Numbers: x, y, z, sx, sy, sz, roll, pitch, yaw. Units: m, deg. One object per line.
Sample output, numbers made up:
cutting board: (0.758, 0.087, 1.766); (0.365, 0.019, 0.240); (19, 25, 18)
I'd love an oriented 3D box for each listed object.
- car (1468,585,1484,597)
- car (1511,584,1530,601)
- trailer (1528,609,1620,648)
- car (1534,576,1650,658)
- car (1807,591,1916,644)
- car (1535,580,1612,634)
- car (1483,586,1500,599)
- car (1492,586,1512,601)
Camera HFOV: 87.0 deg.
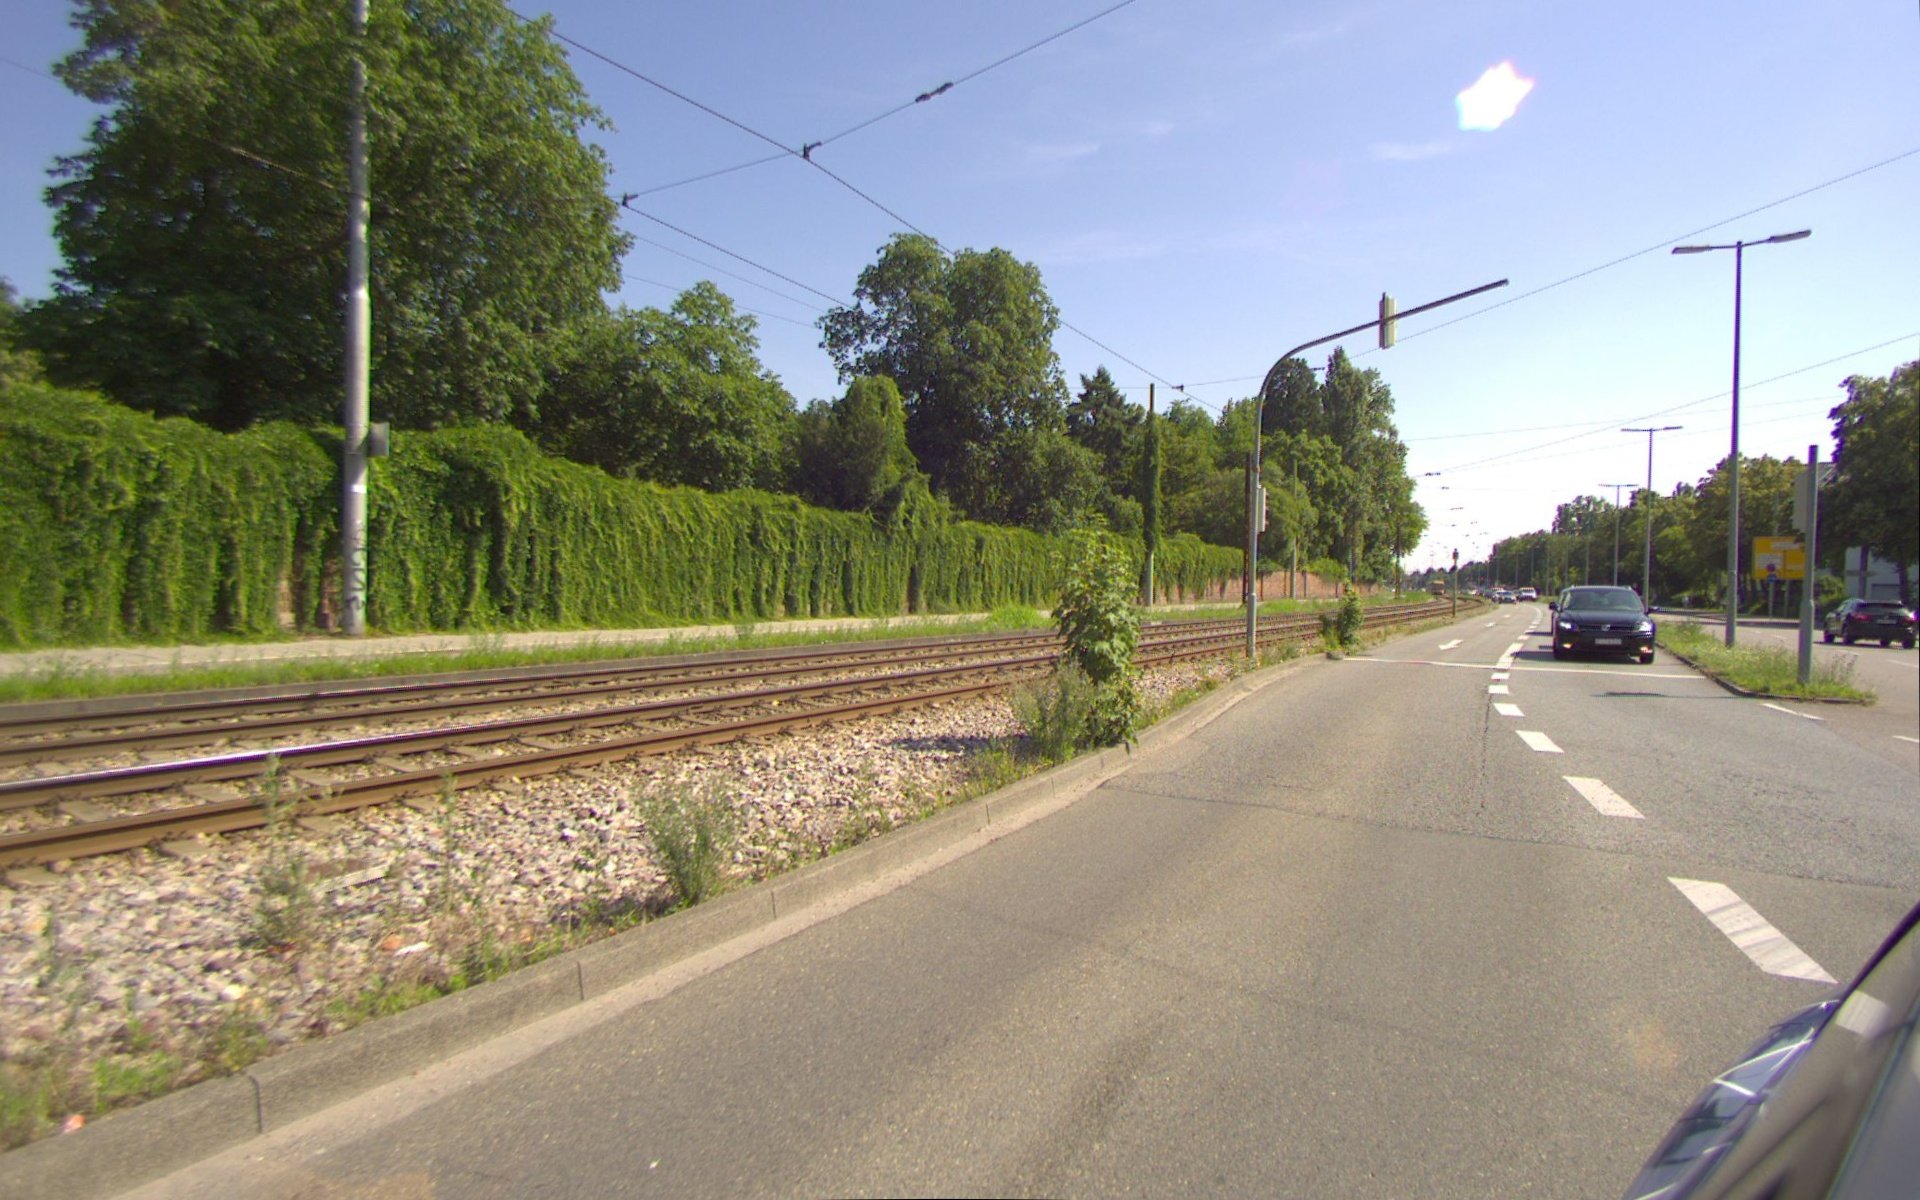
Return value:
car: (74.349, -1.290, 145.698); (1.915, 1.622, 4.424); (1, 1, 28)
car: (79.165, -1.046, 142.956); (2.246, 2.379, 5.177); (1, 1, 29)
trailer: (15.817, 0.705, 26.203); (1.739, 0.828, 3.042); (2, 2, 27)
car: (14.129, 0.307, 22.849); (1.739, 1.602, 4.464); (2, 2, 27)
car: (30.697, 0.538, 34.605); (1.741, 1.601, 4.460); (4, 2, 29)
car: (20.263, 0.184, 33.571); (1.739, 1.602, 4.464); (2, 2, 27)
car: (69.755, -0.988, 132.737); (1.915, 1.622, 4.424); (1, 1, 28)
car: (63.269, -0.800, 118.164); (1.913, 1.622, 4.427); (1, 1, 27)
